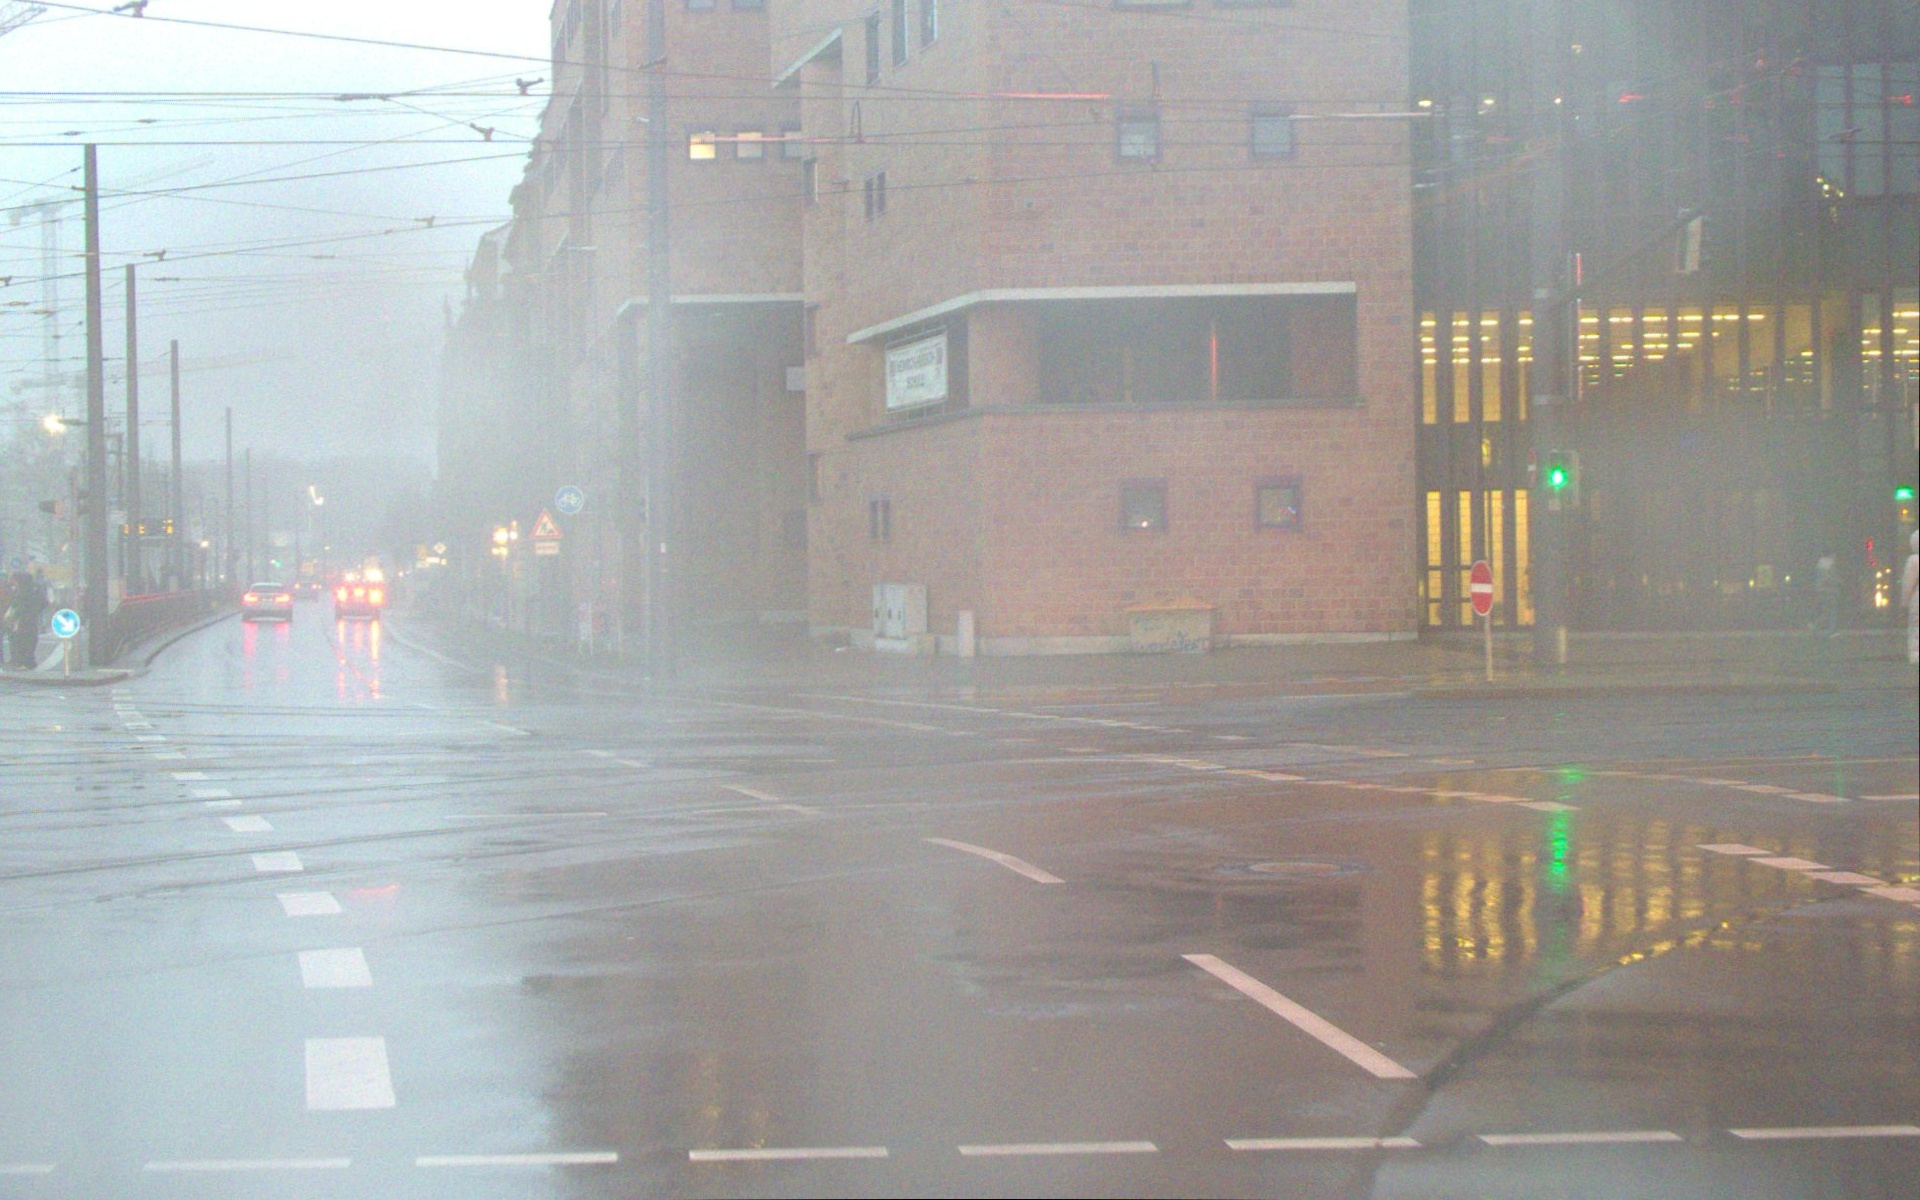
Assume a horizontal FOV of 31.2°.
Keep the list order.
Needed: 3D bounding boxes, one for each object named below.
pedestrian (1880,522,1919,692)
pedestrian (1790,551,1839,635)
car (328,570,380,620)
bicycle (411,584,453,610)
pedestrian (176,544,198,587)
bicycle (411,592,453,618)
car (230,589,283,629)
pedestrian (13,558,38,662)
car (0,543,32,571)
[{"bbox_3d":[10.300,0.061,36.498,0.733,1.781,0.735,-1,1,-13],"label":"pedestrian"},{"bbox_3d":[14.257,-0.113,57.368,0.737,1.384,0.737,-1,1,11],"label":"pedestrian"},{"bbox_3d":[-25.278,-0.237,143.440,1.993,2.007,4.001,-1,1,-8],"label":"car"},{"bbox_3d":[-22.691,-0.144,147.766,1.729,1.051,0.371,-2,1,-11],"label":"bicycle"},{"bbox_3d":[-27.708,-1.233,123.167,0.679,1.511,0.619,0,0,-22],"label":"pedestrian"},{"bbox_3d":[-22.771,0.194,148.222,1.729,1.051,0.371,-2,1,-11],"label":"bicycle"},{"bbox_3d":[-26.985,0.338,131.884,1.783,1.462,3.149,-1,1,-8],"label":"car"},{"bbox_3d":[-16.621,0.175,61.168,0.412,1.839,0.670,0,0,-15],"label":"pedestrian"},{"bbox_3d":[-47.302,-2.125,171.573,1.681,1.349,3.547,0,0,-11],"label":"car"}]
